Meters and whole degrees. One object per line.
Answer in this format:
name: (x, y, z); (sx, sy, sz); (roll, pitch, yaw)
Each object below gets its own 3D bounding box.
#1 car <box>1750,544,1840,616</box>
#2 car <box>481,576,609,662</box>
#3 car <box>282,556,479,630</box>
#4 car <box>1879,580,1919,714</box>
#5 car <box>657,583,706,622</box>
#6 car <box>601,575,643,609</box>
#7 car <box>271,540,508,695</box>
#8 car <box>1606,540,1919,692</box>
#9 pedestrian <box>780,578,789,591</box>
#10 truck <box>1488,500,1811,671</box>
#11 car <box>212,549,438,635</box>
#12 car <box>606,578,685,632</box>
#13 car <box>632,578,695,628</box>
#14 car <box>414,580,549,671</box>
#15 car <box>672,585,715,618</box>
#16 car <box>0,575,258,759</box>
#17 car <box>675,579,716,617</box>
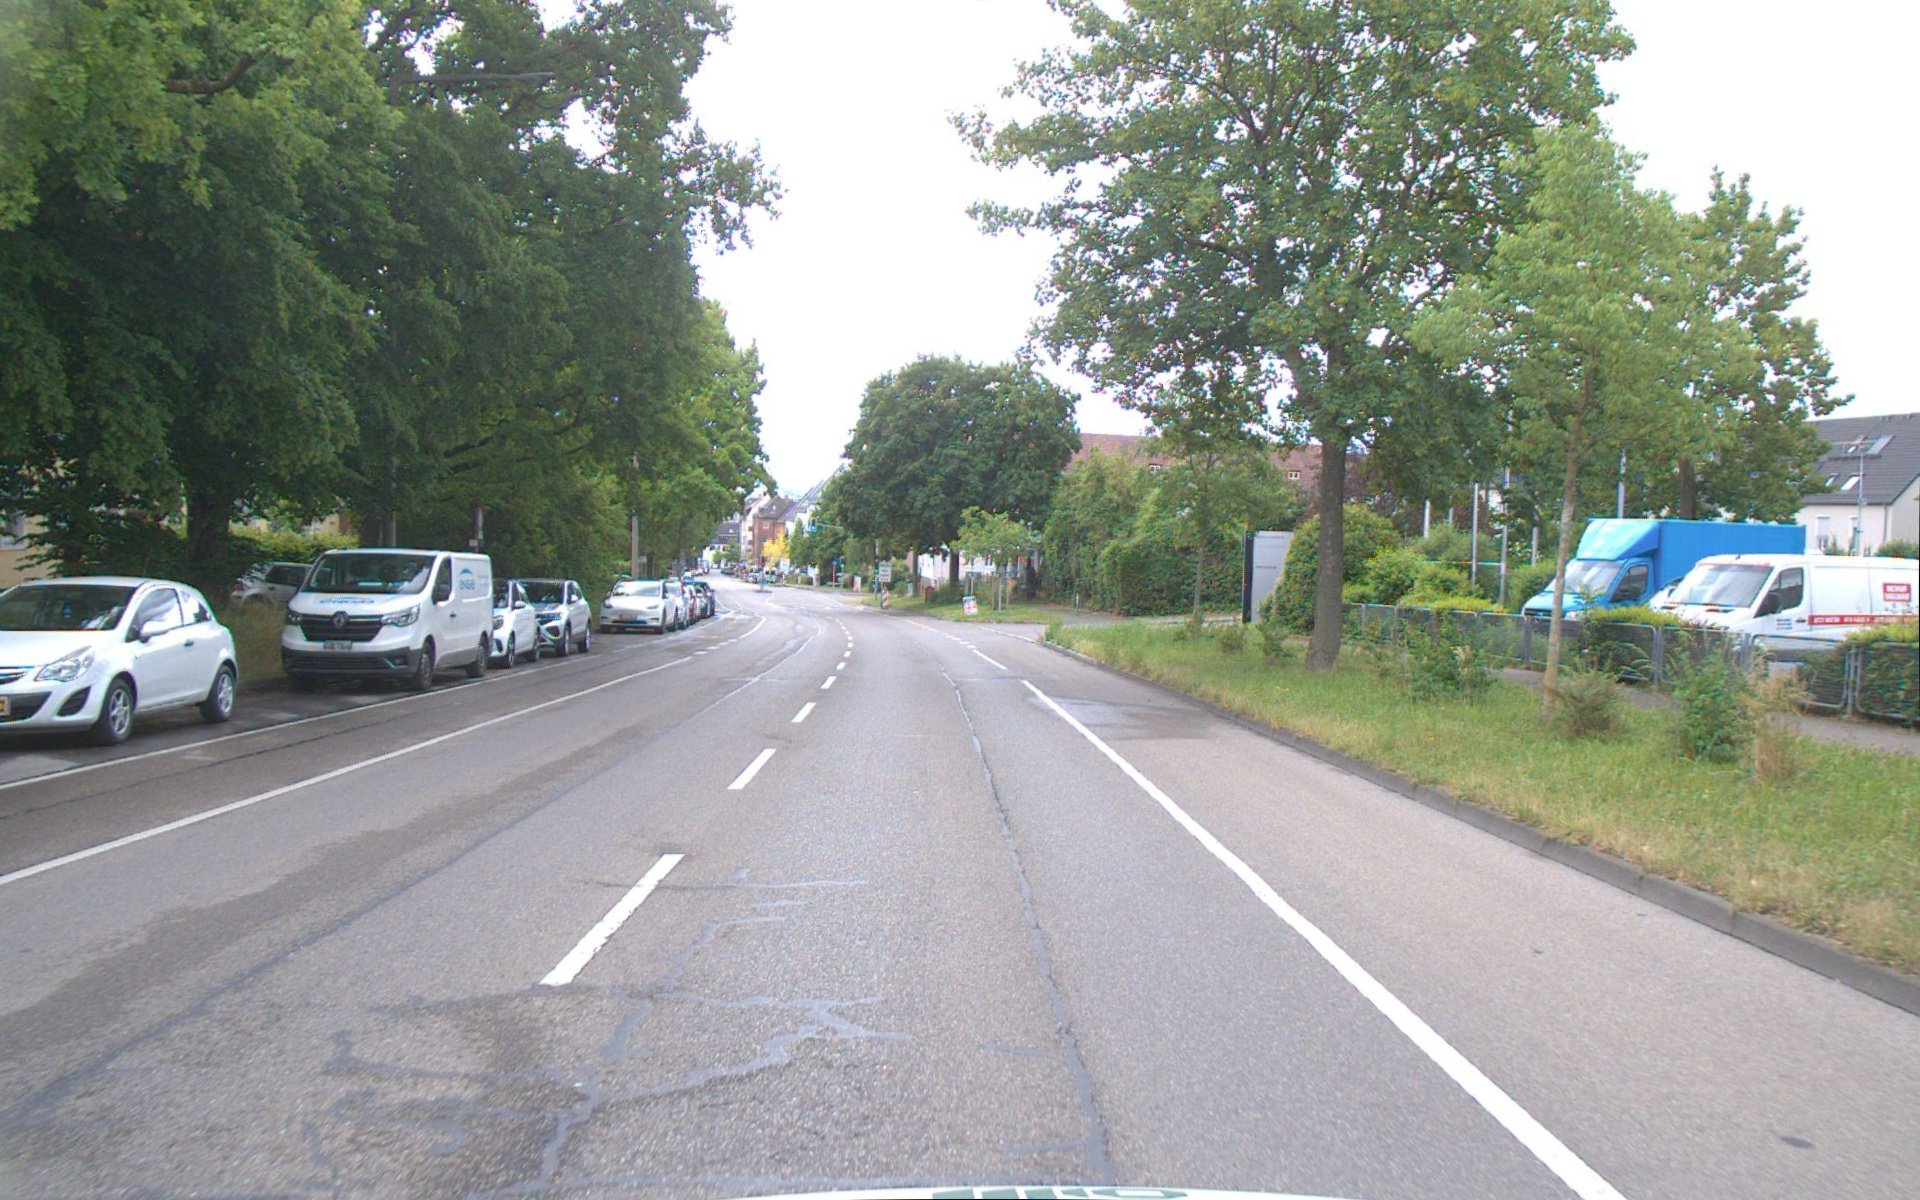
car: (33.680, -0.852, 66.638); (2.219, 2.723, 5.427); (2, 3, 37)
car: (-8.652, 0.358, 34.796); (1.731, 1.662, 4.157); (1, 0, -2)
car: (-15.009, -0.183, 42.985); (4.343, 1.479, 1.887); (6, 0, 0)
car: (13.835, 0.654, 21.008); (3.943, 1.658, 1.981); (2, 0, -29)
car: (-11.278, 0.081, 67.193); (1.682, 1.485, 4.749); (2, 0, -7)
car: (-18.078, -0.427, 88.571); (1.728, 1.661, 3.995); (4, 0, -6)
car: (-8.192, 0.207, 24.277); (1.829, 1.998, 5.125); (1, 0, -2)
car: (14.412, 0.304, 28.903); (5.933, 2.408, 2.344); (2, 0, -25)
pedestrian: (-27.004, -2.380, 254.766); (1.178, 1.841, 1.298); (2, 0, -9)
truck: (15.427, -0.295, 36.911); (7.074, 3.537, 2.598); (1, 1, -26)
car: (-14.375, -0.172, 37.643); (4.348, 1.475, 1.866); (6, 0, -7)
car: (-9.719, 0.149, 51.401); (1.732, 1.600, 4.757); (0, 0, -3)
car: (-10.132, 0.088, 56.762); (1.833, 1.600, 4.114); (2, 0, -7)
car: (-8.568, 0.419, 29.893); (1.550, 1.507, 3.717); (1, 0, -4)
car: (-11.806, 0.043, 73.341); (1.682, 1.413, 4.332); (1, 0, -7)
car: (-8.251, 0.530, 15.655); (1.629, 1.505, 4.088); (1, 0, -3)
car: (-12.596, -0.112, 78.891); (1.682, 1.640, 4.528); (2, 1, -7)
